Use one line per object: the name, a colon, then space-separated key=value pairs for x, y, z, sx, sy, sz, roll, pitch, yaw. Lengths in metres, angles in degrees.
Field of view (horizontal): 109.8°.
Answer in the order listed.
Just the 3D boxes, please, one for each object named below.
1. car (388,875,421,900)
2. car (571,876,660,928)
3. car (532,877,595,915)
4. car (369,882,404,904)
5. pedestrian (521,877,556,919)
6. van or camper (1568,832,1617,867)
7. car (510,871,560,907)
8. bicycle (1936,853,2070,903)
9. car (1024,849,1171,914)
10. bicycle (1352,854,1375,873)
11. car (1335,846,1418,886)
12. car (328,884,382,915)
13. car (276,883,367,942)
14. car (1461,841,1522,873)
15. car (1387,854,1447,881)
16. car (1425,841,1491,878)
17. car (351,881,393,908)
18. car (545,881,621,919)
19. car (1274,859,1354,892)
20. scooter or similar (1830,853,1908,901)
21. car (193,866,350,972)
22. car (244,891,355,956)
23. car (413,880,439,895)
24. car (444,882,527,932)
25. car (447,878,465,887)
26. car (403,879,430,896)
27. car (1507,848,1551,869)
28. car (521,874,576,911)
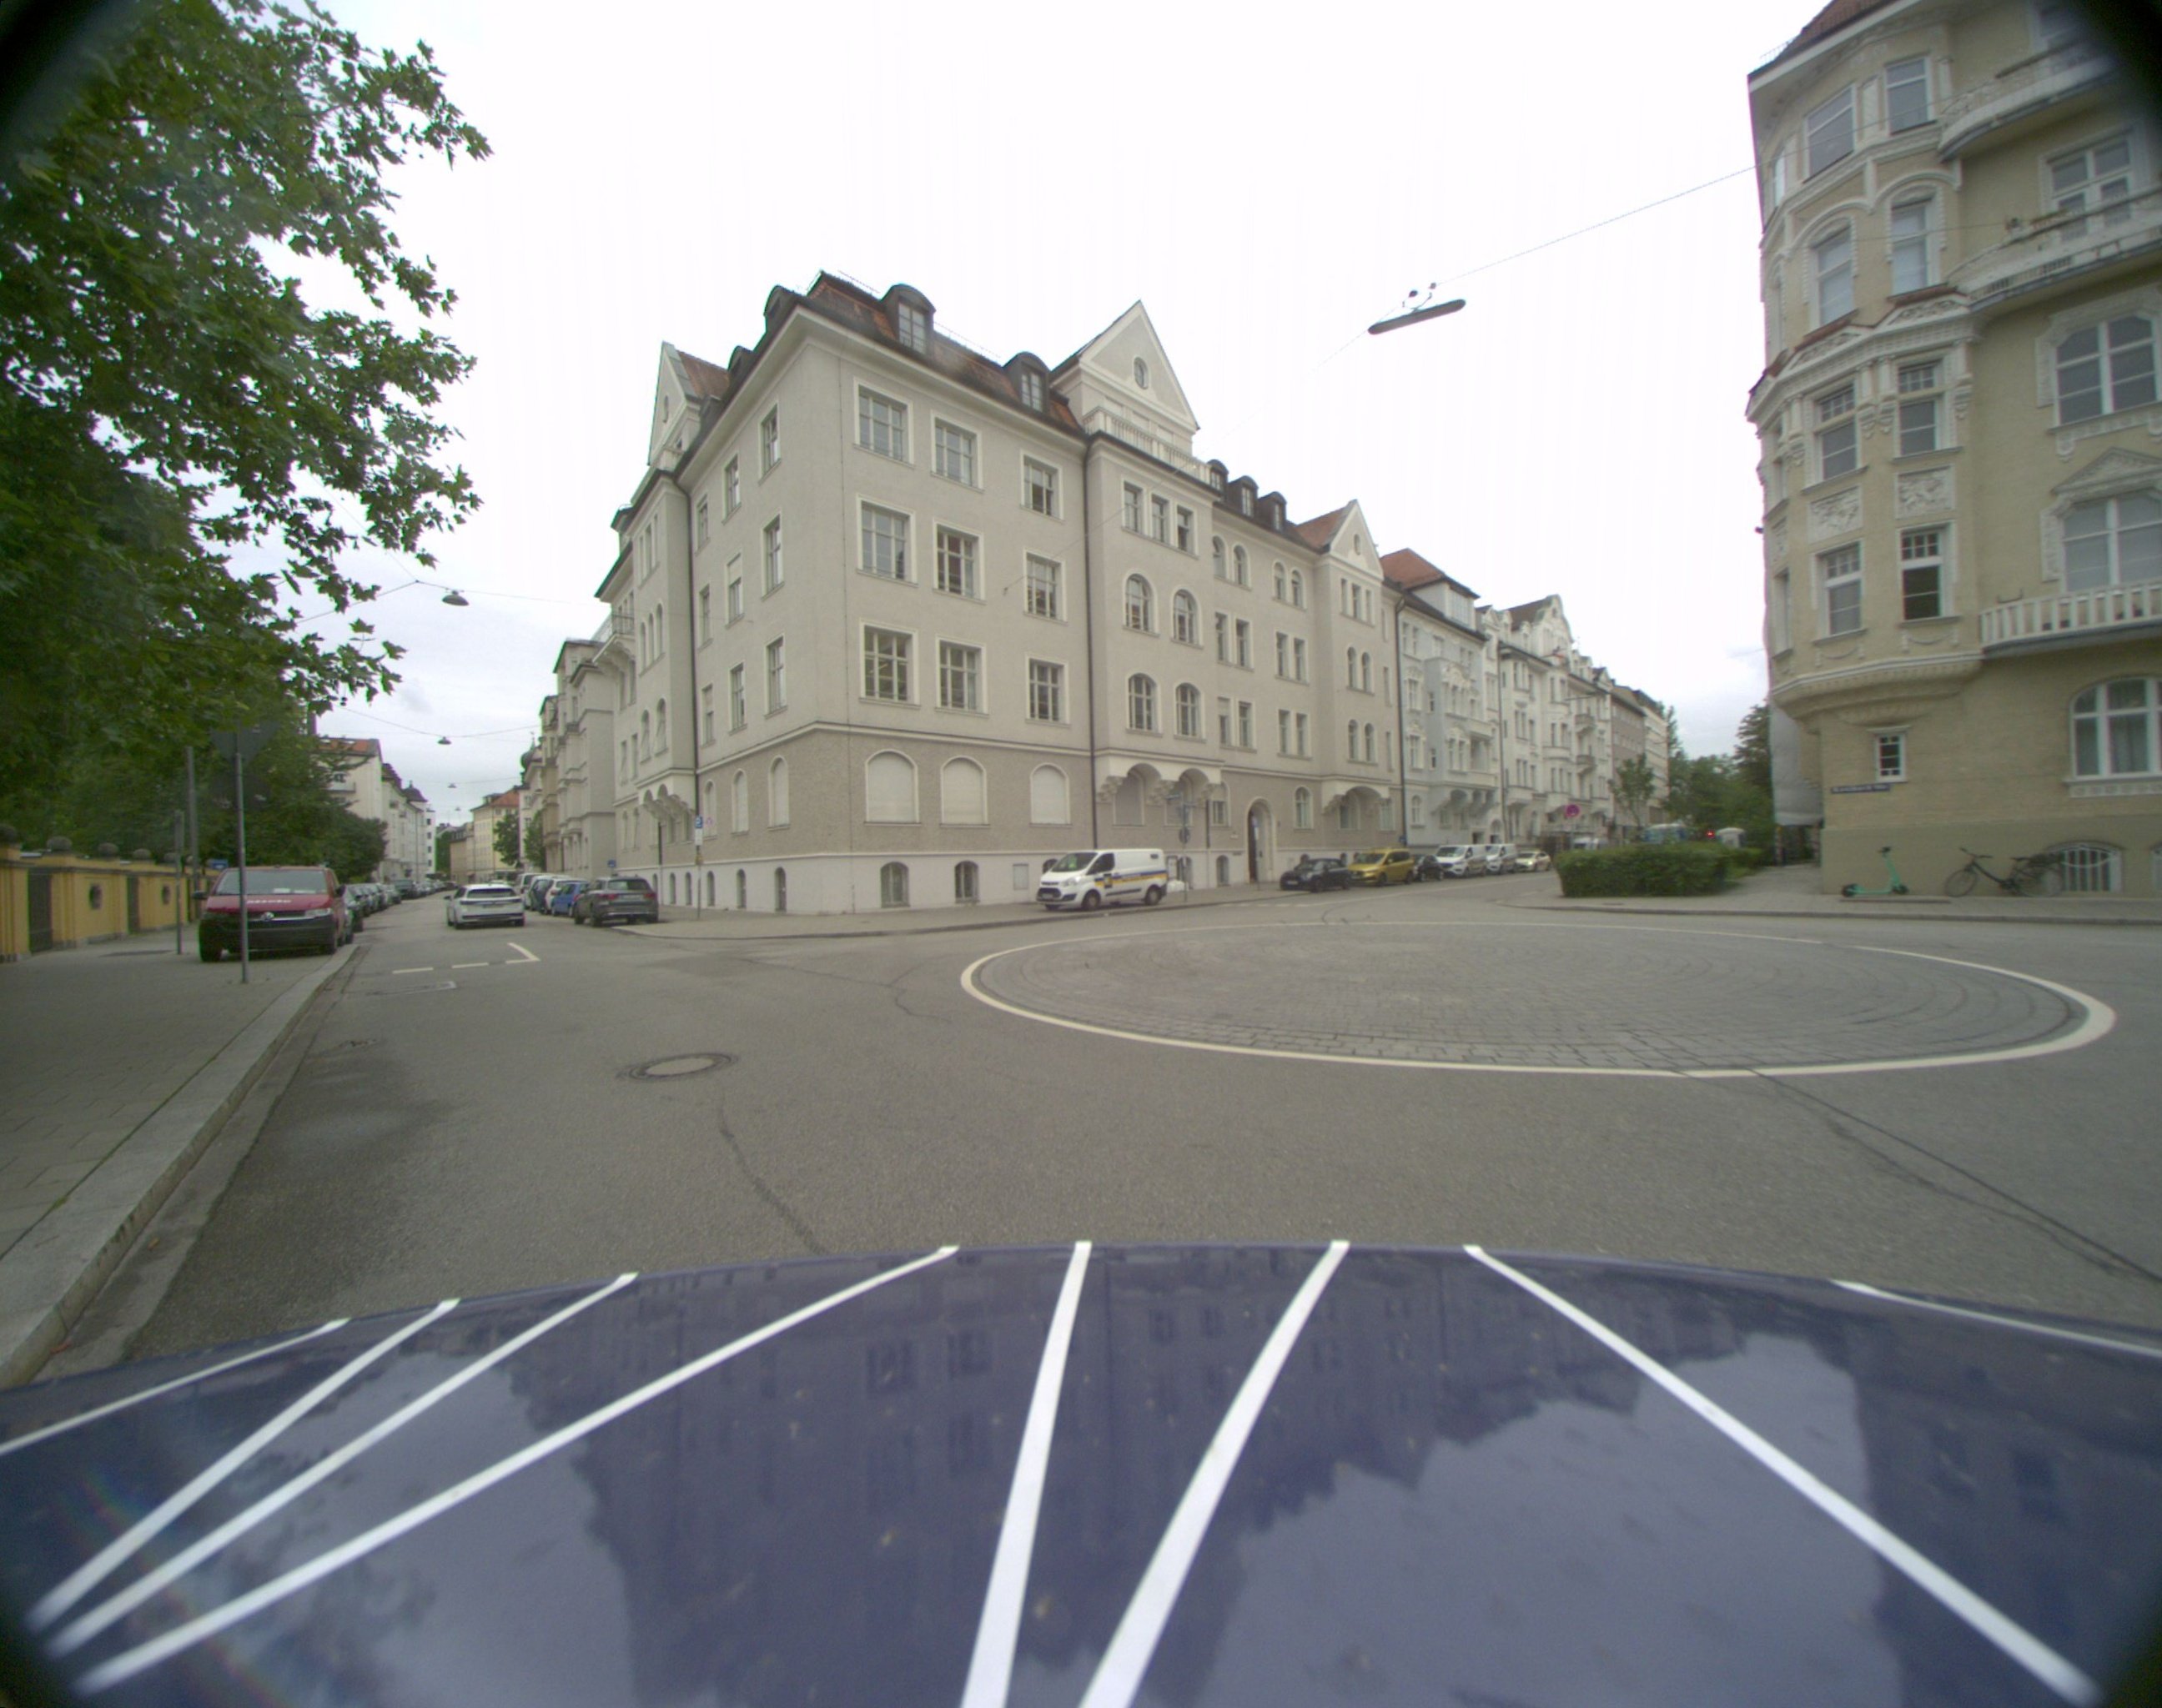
car: x=-61.642 y=3.045 z=69.295 sx=2.003 sy=1.949 sz=4.421 roll=-6 pitch=2 yaw=-41
car: x=-15.811 y=1.551 z=25.710 sx=1.756 sy=1.592 sz=4.484 roll=0 pitch=-1 yaw=-42
car: x=-23.771 y=1.878 z=34.830 sx=1.756 sy=1.592 sz=4.484 roll=0 pitch=-1 yaw=-42
car: x=-50.566 y=2.805 z=55.388 sx=1.722 sy=1.444 sz=4.942 roll=-1 pitch=-1 yaw=-41
pedestrian: x=-23.906 y=1.921 z=33.486 sx=0.876 sy=1.745 sz=0.963 roll=-2 pitch=0 yaw=-9
van or camper: x=44.851 y=-0.416 z=66.571 sx=6.450 sy=2.897 sz=1.994 roll=-2 pitch=1 yaw=-41
car: x=-31.567 y=1.983 z=43.865 sx=1.866 sy=1.926 sz=4.944 roll=0 pitch=-1 yaw=-41
bicycle: x=20.471 y=0.533 z=16.925 sx=1.825 sy=1.043 sz=0.566 roll=-2 pitch=0 yaw=44
car: x=0.638 y=0.838 z=25.237 sx=4.921 sy=1.869 sz=1.920 roll=-2 pitch=0 yaw=-44
bicycle: x=17.067 y=0.568 z=45.879 sx=1.834 sy=1.043 sz=0.490 roll=-2 pitch=0 yaw=-42
car: x=14.458 y=0.576 z=37.086 sx=4.144 sy=1.828 sz=2.022 roll=-1 pitch=0 yaw=-41
car: x=-37.466 y=2.317 z=39.304 sx=1.701 sy=1.406 sz=4.504 roll=-1 pitch=-1 yaw=-40
car: x=-25.435 y=1.879 z=25.586 sx=1.894 sy=1.643 sz=4.811 roll=-4 pitch=1 yaw=-43
car: x=26.685 y=0.187 z=49.320 sx=4.832 sy=1.982 sz=2.119 roll=-1 pitch=0 yaw=-44
car: x=18.036 y=0.692 z=40.714 sx=3.546 sy=1.338 sz=1.693 roll=-1 pitch=-1 yaw=-43
car: x=22.364 y=0.321 z=44.974 sx=2.119 sy=2.079 sz=4.832 roll=-2 pitch=0 yaw=44
car: x=-44.719 y=2.532 z=47.960 sx=1.722 sy=1.561 sz=4.308 roll=-1 pitch=-1 yaw=-41
car: x=-20.587 y=1.852 z=31.370 sx=3.652 sy=1.406 sz=1.701 roll=-2 pitch=-1 yaw=41
car: x=10.333 y=0.929 z=33.552 sx=3.687 sy=1.338 sz=1.693 roll=-1 pitch=-1 yaw=-42
scooter or similar: x=18.860 y=0.551 z=18.207 sx=1.213 sy=1.109 sz=0.468 roll=-2 pitch=1 yaw=13
car: x=-17.612 y=1.297 z=16.764 sx=1.883 sy=1.909 sz=4.874 roll=-3 pitch=1 yaw=-42
car: x=-21.445 y=1.826 z=20.996 sx=1.894 sy=1.440 sz=4.357 roll=-4 pitch=1 yaw=-44
car: x=-78.311 y=3.946 z=90.874 sx=2.003 sy=1.585 sz=4.288 roll=-6 pitch=2 yaw=-37
car: x=-20.471 y=1.734 z=26.033 sx=1.894 sy=1.440 sz=4.878 roll=-2 pitch=0 yaw=-42
car: x=-120.193 y=5.416 z=146.117 sx=2.003 sy=1.585 sz=4.288 roll=-5 pitch=2 yaw=-32
car: x=-70.957 y=3.565 z=81.176 sx=2.003 sy=1.585 sz=4.287 roll=-6 pitch=2 yaw=-40
car: x=31.186 y=0.316 z=52.913 sx=3.546 sy=1.338 sz=1.693 roll=-1 pitch=-1 yaw=-43
car: x=-27.530 y=1.923 z=39.232 sx=1.756 sy=1.777 sz=5.023 roll=0 pitch=-1 yaw=-41
